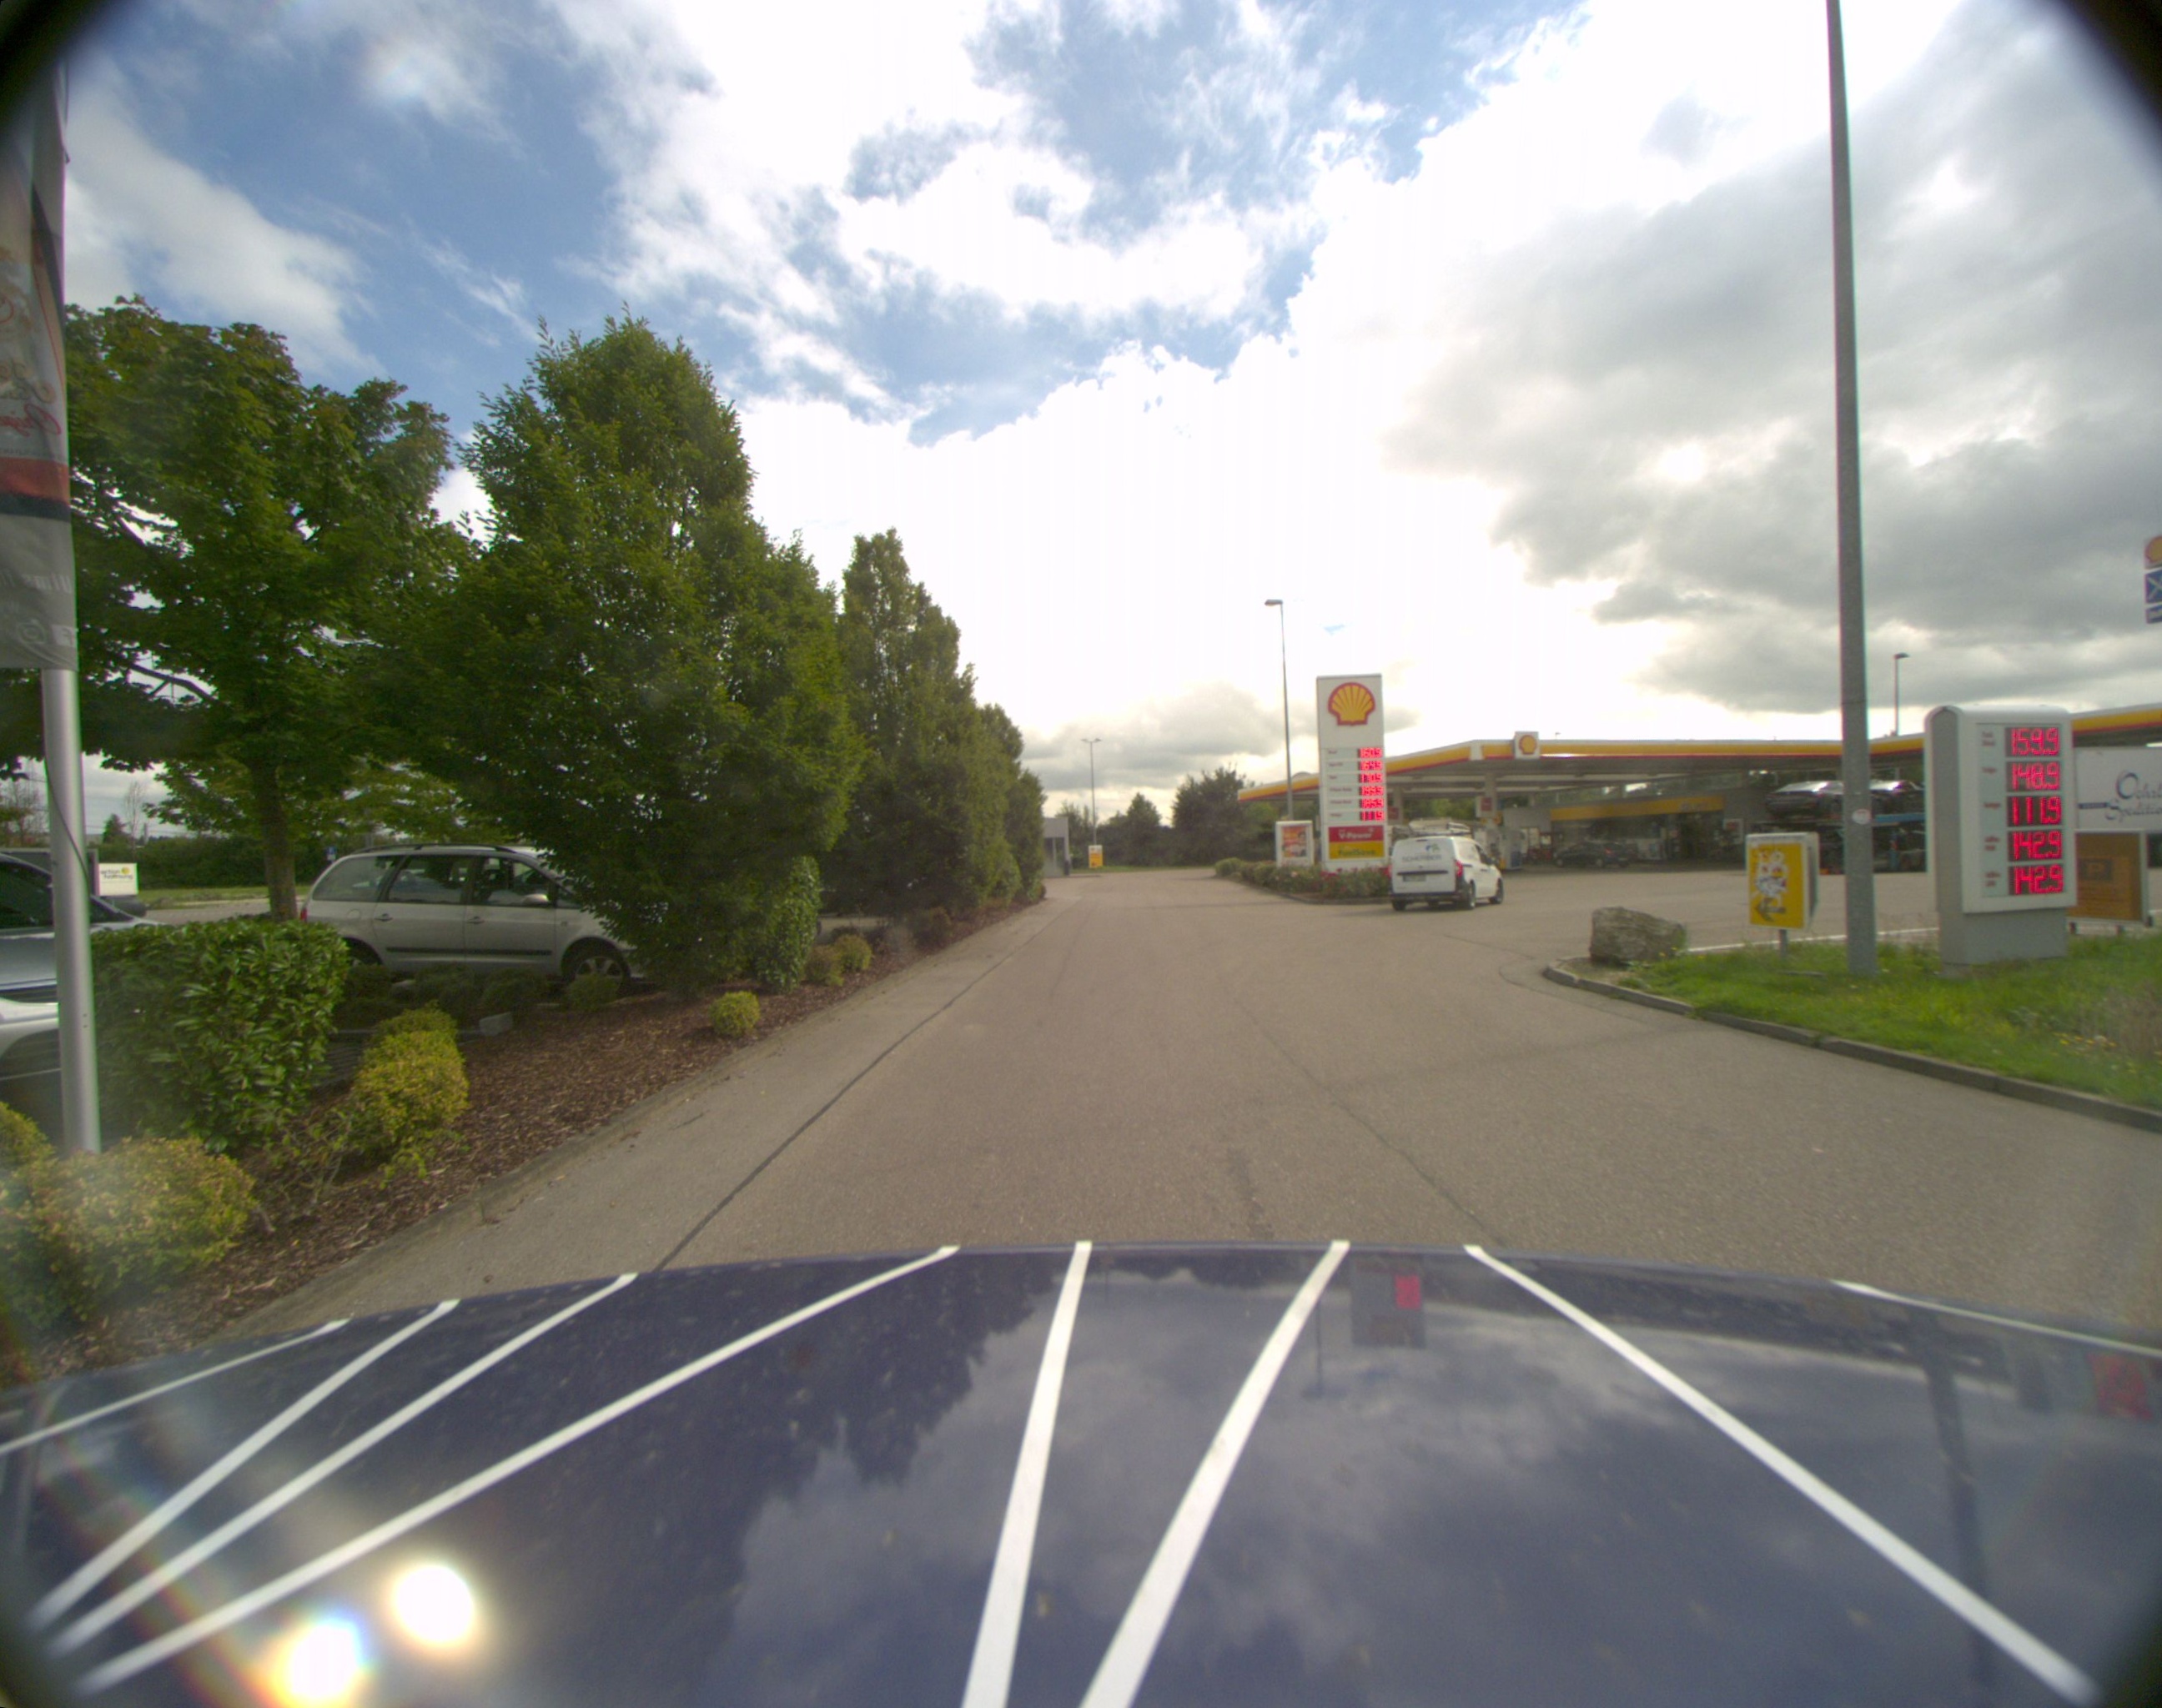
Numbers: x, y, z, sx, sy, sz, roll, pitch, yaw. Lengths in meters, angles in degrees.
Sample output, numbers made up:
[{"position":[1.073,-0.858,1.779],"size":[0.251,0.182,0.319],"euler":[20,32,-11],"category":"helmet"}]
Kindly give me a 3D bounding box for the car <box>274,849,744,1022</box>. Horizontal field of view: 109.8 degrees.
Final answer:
[{"position":[-6.438,0.888,8.770],"size":[4.358,1.706,1.658],"euler":[-2,0,8],"category":"car"}]

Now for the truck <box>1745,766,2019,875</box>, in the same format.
[{"position":[32.753,-1.445,30.880],"size":[13.270,3.901,2.747],"euler":[-2,1,-21],"category":"truck"}]

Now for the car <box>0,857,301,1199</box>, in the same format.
[{"position":[-7.666,0.906,4.424],"size":[4.673,1.687,1.920],"euler":[-1,1,8],"category":"car"}]

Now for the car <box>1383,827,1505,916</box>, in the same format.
[{"position":[9.240,0.399,19.187],"size":[1.791,2.000,3.889],"euler":[-2,0,40],"category":"car"}]

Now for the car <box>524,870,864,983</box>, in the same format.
[{"position":[-5.410,0.993,10.964],"size":[3.996,1.342,1.726],"euler":[-2,0,3],"category":"car"}]

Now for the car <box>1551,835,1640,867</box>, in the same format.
[{"position":[27.840,-0.147,41.266],"size":[1.717,1.592,3.757],"euler":[-2,0,-14],"category":"car"}]

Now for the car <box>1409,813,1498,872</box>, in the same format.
[{"position":[19.093,-0.593,38.797],"size":[5.820,2.770,2.218],"euler":[-2,0,-45],"category":"car"}]

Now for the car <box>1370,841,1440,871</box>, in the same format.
[{"position":[18.210,0.102,42.591],"size":[3.968,1.550,1.995],"euler":[-2,0,-40],"category":"car"}]

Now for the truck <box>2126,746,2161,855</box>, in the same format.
[{"position":[43.645,-2.114,28.441],"size":[7.171,4.001,2.710],"euler":[-2,0,-13],"category":"truck"}]

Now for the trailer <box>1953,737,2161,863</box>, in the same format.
[{"position":[37.345,-1.913,26.936],"size":[12.852,4.001,2.710],"euler":[-2,0,-13],"category":"trailer"}]
